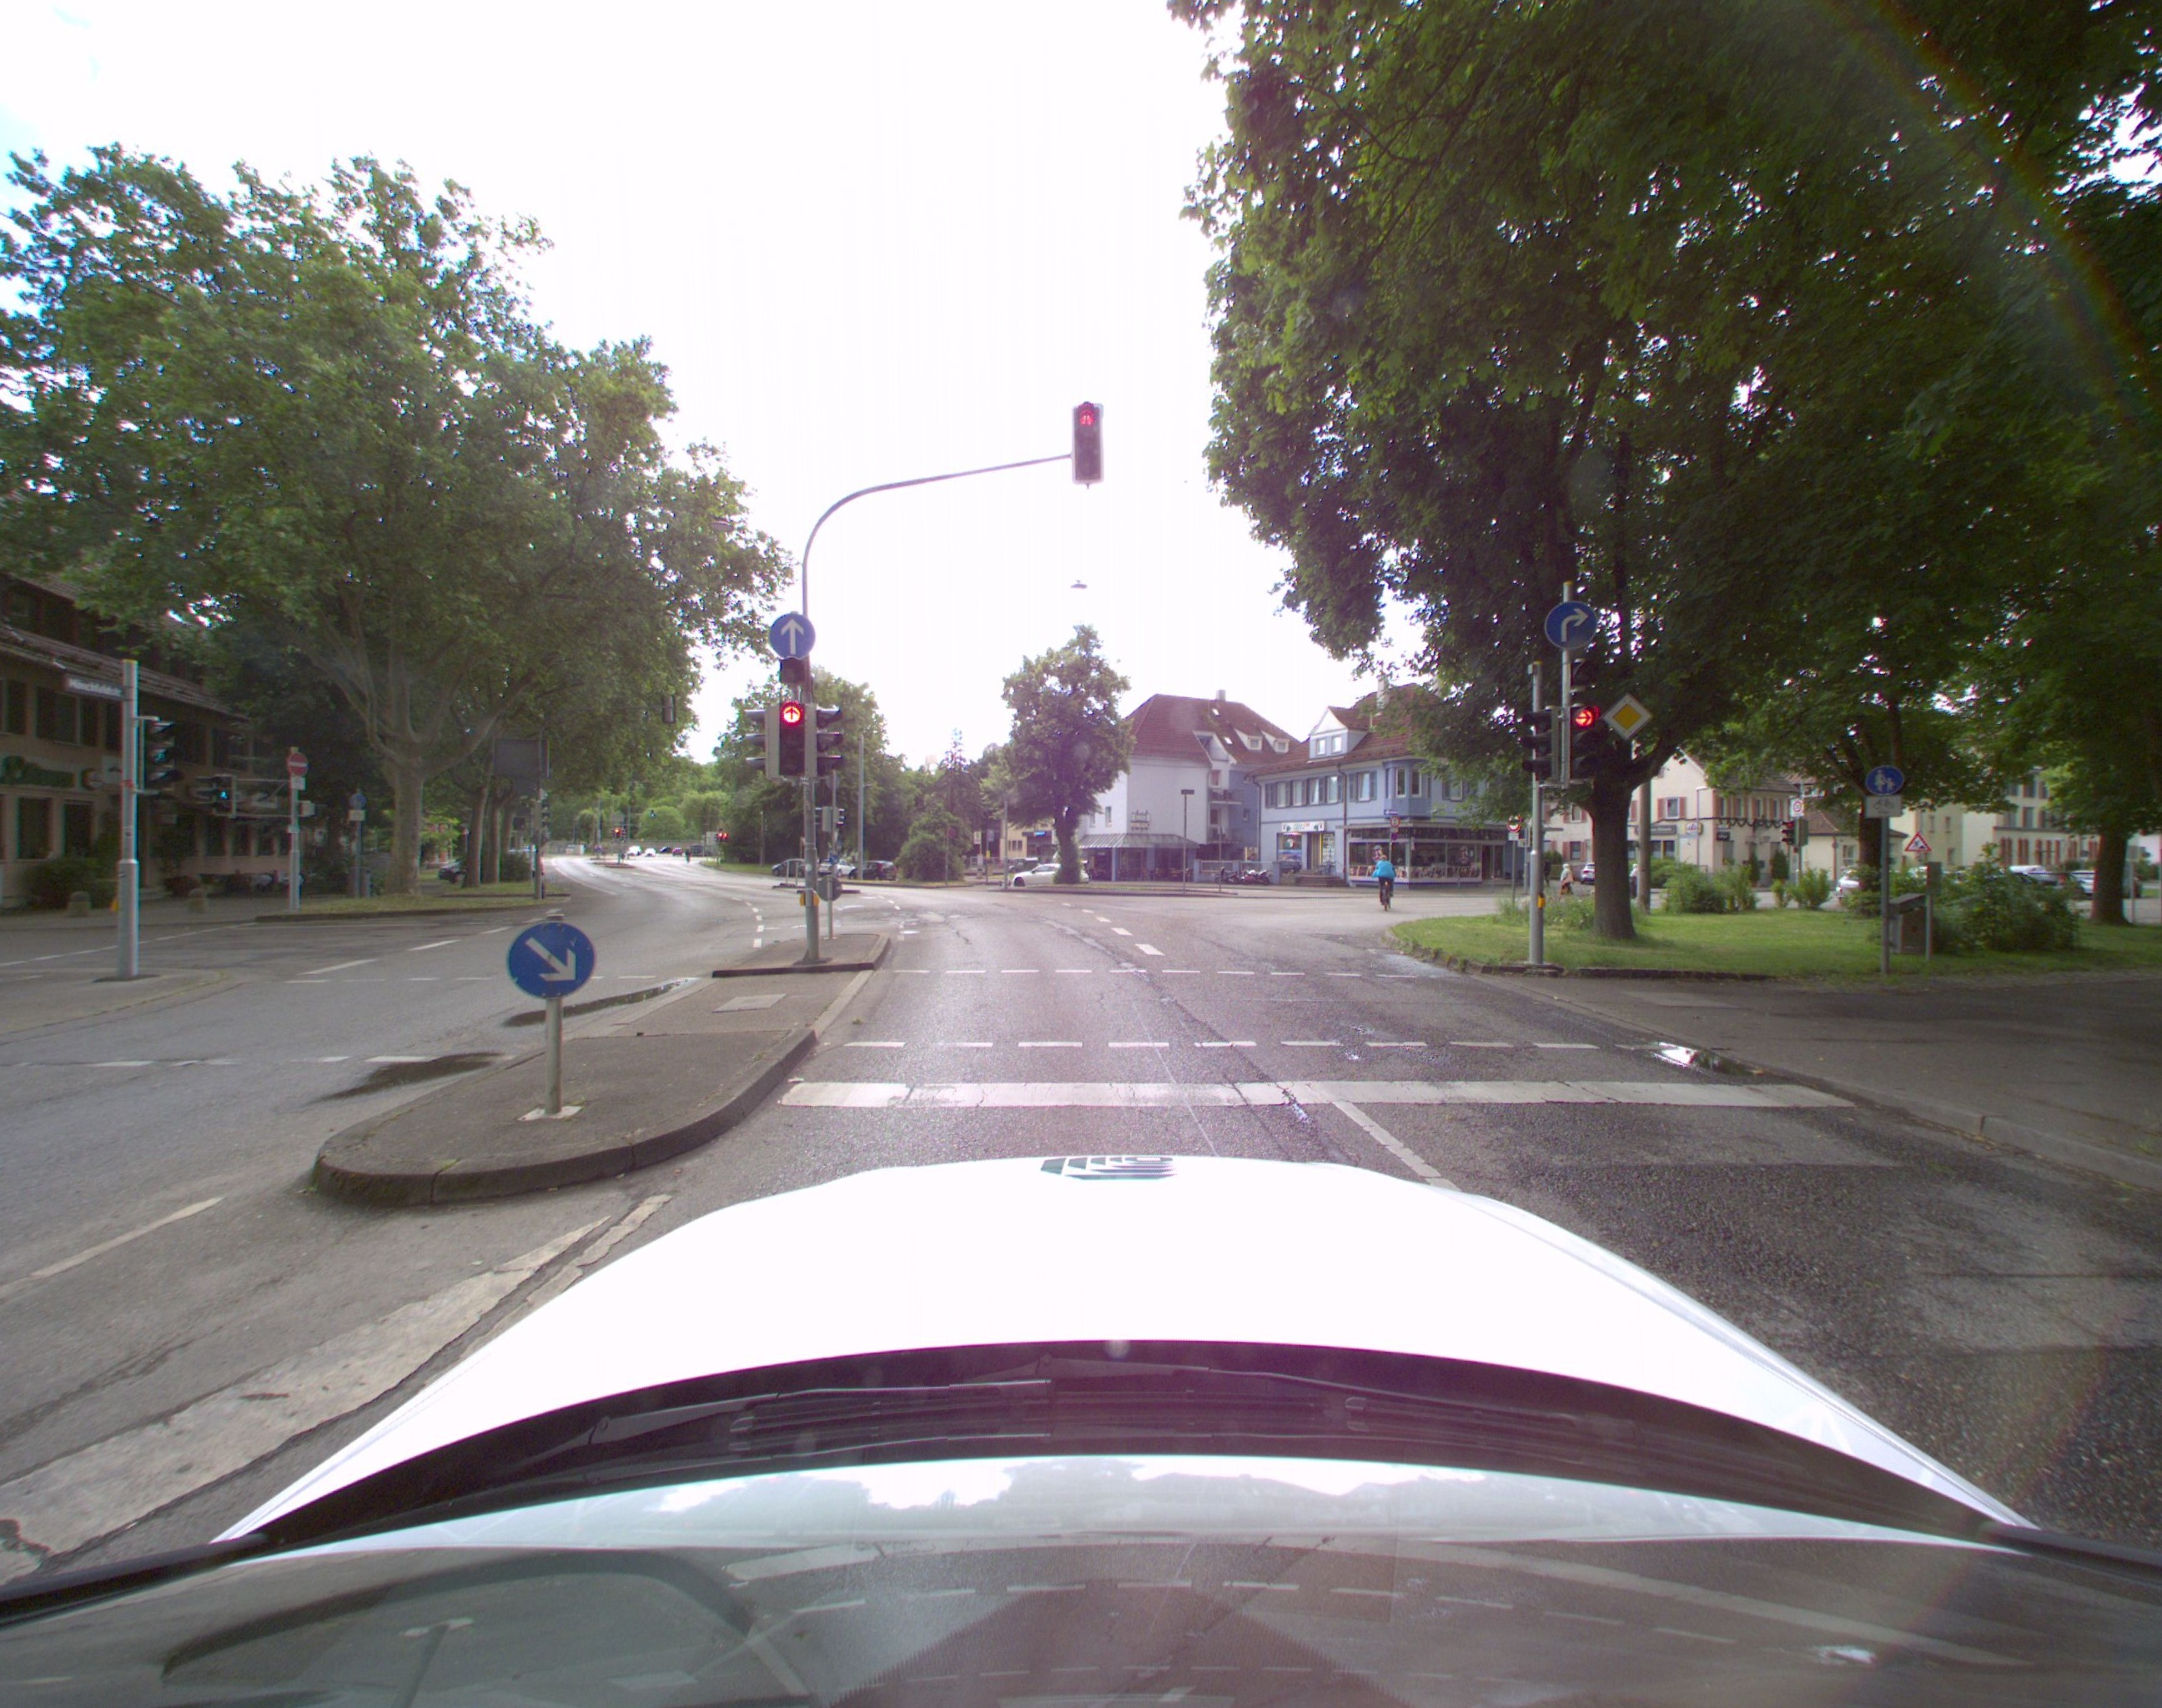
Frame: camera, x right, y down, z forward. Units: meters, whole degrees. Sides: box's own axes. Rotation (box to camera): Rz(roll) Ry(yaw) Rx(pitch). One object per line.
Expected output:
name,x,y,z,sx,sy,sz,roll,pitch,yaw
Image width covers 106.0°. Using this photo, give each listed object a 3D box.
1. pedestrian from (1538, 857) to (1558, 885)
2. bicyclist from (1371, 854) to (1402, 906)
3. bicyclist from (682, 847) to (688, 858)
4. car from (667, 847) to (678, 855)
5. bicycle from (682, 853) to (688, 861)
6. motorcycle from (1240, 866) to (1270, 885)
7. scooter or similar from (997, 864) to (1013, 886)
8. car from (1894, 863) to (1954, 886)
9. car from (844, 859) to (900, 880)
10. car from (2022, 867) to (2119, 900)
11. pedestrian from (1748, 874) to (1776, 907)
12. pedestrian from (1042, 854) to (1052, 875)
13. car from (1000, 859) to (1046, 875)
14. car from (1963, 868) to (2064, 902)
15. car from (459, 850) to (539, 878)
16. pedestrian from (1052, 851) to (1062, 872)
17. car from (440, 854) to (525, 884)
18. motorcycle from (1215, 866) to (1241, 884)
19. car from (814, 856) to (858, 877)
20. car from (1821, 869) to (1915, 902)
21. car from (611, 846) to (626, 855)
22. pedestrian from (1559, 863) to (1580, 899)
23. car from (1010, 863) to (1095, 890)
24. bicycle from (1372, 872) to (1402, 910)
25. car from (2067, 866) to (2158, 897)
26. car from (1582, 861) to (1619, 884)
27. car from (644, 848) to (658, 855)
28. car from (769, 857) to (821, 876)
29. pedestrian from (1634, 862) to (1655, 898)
pedestrian,26.295,0.964,45.872,0.671,1.560,0.743,0,-1,-13
bicyclist,10.011,0.843,26.687,0.907,1.651,0.994,0,-1,23
bicyclist,-45.266,-0.162,93.144,0.543,1.342,0.707,0,-1,-29
car,-86.133,-0.650,171.632,2.005,1.596,3.962,0,-1,-29
bicycle,-45.298,0.344,93.201,0.559,0.958,2.014,0,0,-28
motorcycle,10.355,1.280,48.403,1.609,1.088,0.631,-1,-1,34
scooter or similar,-4.018,1.096,42.985,0.439,1.175,1.442,0,0,11
car,55.397,1.295,53.511,3.871,1.447,1.753,0,-1,-28
car,-13.907,0.995,54.127,3.285,1.352,1.791,0,0,29
car,47.020,1.365,38.722,3.731,1.457,1.640,0,0,-17
pedestrian,22.666,1.219,27.116,0.505,1.081,0.514,0,-1,-13
pedestrian,-3.365,1.056,81.642,0.838,2.014,1.051,0,-1,-12
car,-5.428,1.160,76.054,3.948,1.442,1.742,0,0,-18
car,42.288,1.372,36.953,3.731,1.457,1.640,0,0,-17
car,-36.537,0.608,51.273,4.015,1.684,1.979,0,-1,-34
pedestrian,-1.764,0.568,59.653,0.538,1.560,0.470,-1,-1,15
car,-35.704,0.886,48.705,4.015,1.684,1.979,0,-1,-34
motorcycle,9.060,1.267,50.204,1.441,1.088,0.527,-1,-1,37
car,-20.233,1.009,67.525,1.848,1.640,3.768,0,0,13
car,31.904,1.255,33.030,3.007,1.267,1.455,0,-1,-17
car,-87.088,-0.630,153.355,3.293,1.486,1.594,-1,-2,43
pedestrian,21.506,1.178,35.838,0.724,1.560,0.773,-1,-1,33
car,-1.665,1.241,46.075,4.654,1.410,1.914,0,0,37
bicycle,10.072,1.184,26.789,0.866,1.149,1.963,0,0,22
car,52.533,1.366,41.467,3.731,1.457,1.640,0,0,-17
car,32.383,1.114,50.807,1.866,1.391,3.637,0,0,31
car,-82.987,-0.476,157.174,2.988,1.417,1.509,-1,-2,43
car,-22.683,0.952,64.631,3.742,1.465,1.629,0,0,20
pedestrian,24.409,1.114,35.299,0.687,1.560,0.671,-1,-1,33
